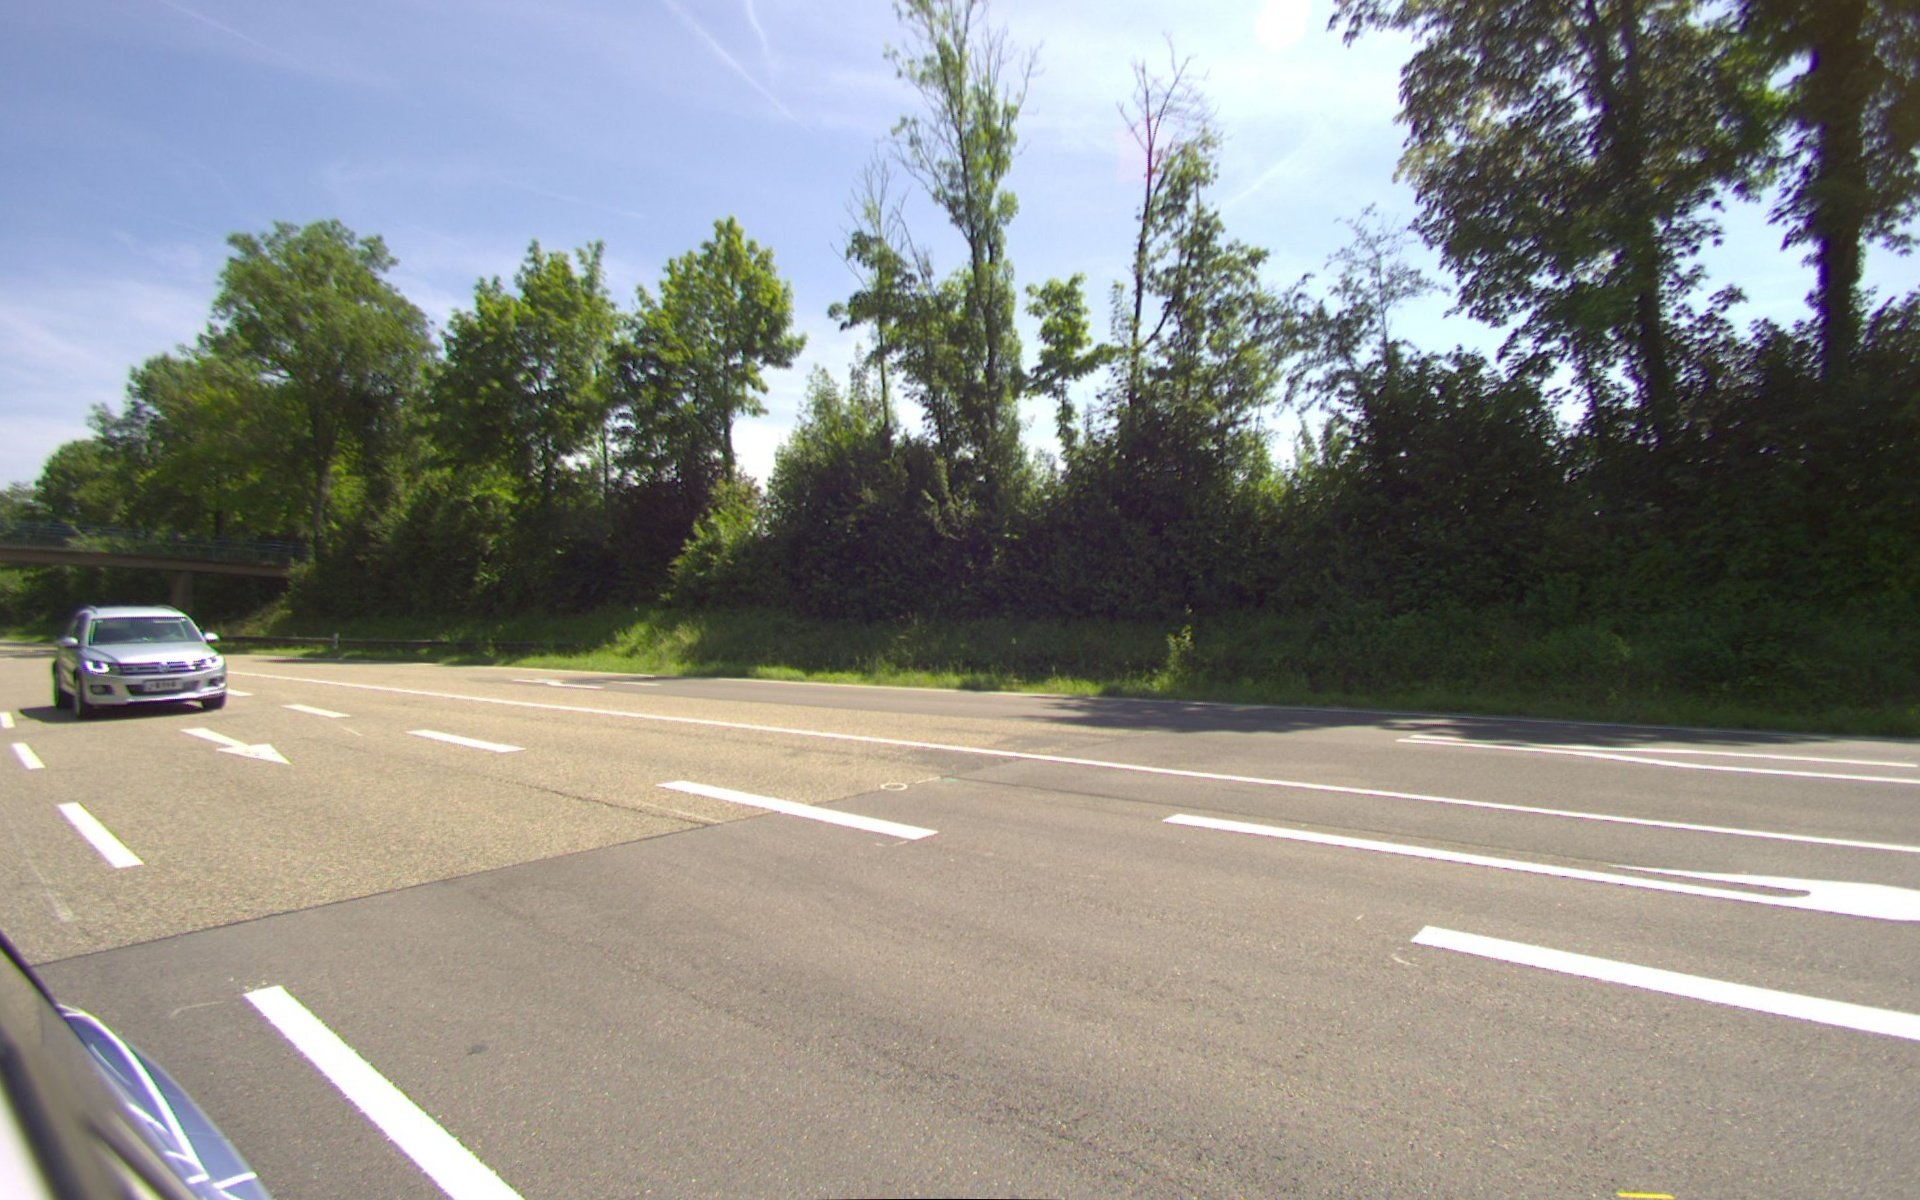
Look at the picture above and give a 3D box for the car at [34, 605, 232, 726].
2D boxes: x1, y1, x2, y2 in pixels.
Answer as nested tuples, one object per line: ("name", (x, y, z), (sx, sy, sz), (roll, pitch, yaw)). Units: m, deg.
("car", (-13.487, 0.987, 16.414), (4.289, 1.682, 1.786), (-2, 0, 41))
